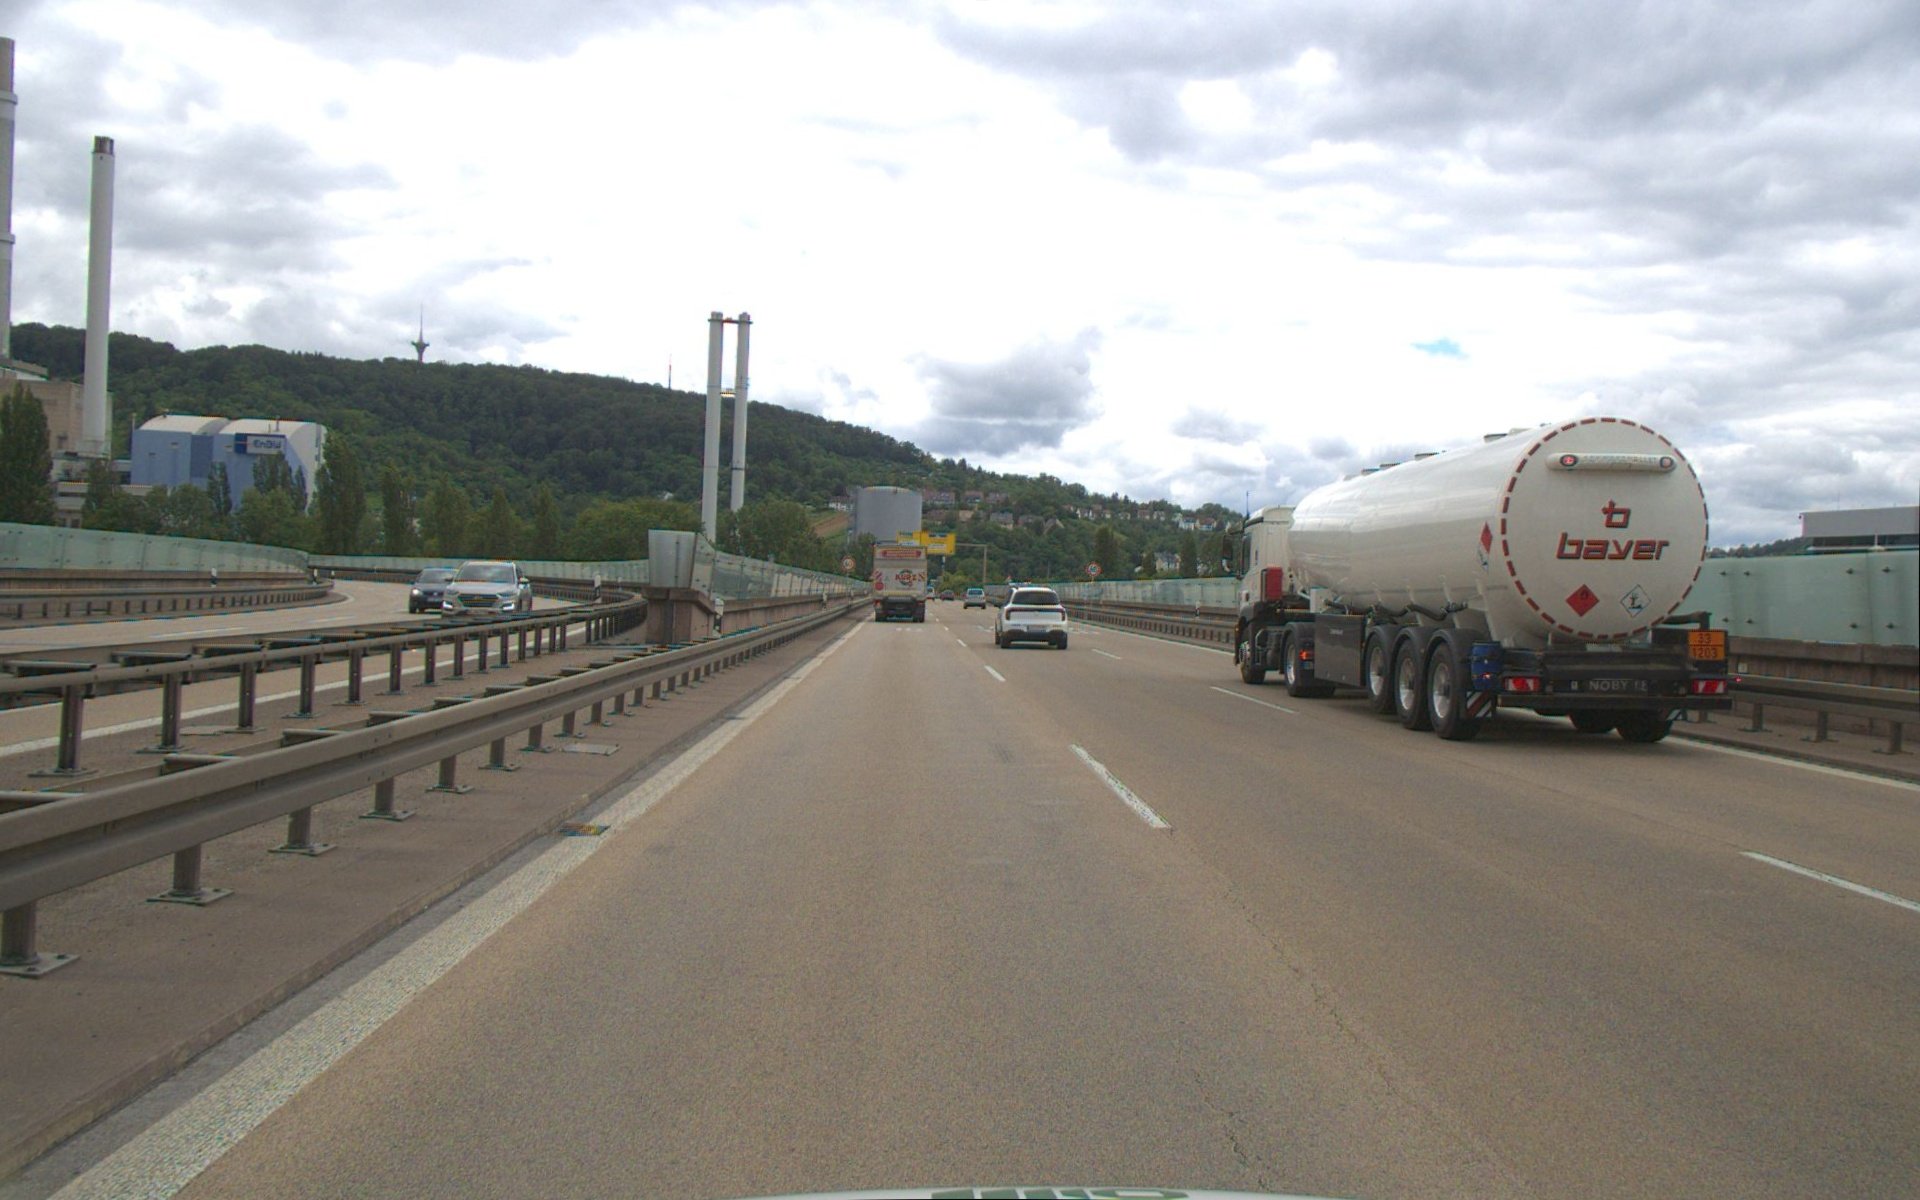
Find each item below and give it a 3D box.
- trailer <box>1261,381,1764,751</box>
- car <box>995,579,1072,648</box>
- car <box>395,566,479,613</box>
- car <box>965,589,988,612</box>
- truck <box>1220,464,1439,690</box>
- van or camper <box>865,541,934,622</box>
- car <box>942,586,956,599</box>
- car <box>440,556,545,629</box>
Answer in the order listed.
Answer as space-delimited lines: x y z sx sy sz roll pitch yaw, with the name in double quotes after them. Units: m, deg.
6.494 -0.340 21.968 2.596 3.605 11.216 1 0 -2 "trailer"
2.026 0.345 46.622 1.885 1.816 4.112 1 0 -1 "car"
-17.271 -0.359 54.799 1.726 1.456 4.391 1 1 -6 "car"
1.408 0.011 138.547 1.884 1.816 4.114 1 0 1 "car"
6.305 -0.378 28.931 2.578 3.575 4.902 1 0 -2 "truck"
-2.868 -0.862 80.654 3.058 3.641 8.548 1 0 -1 "van or camper"
-1.625 -1.042 240.201 1.885 1.816 4.112 1 0 -1 "car"
-11.610 -0.199 41.316 1.809 1.702 4.401 1 0 -7 "car"
